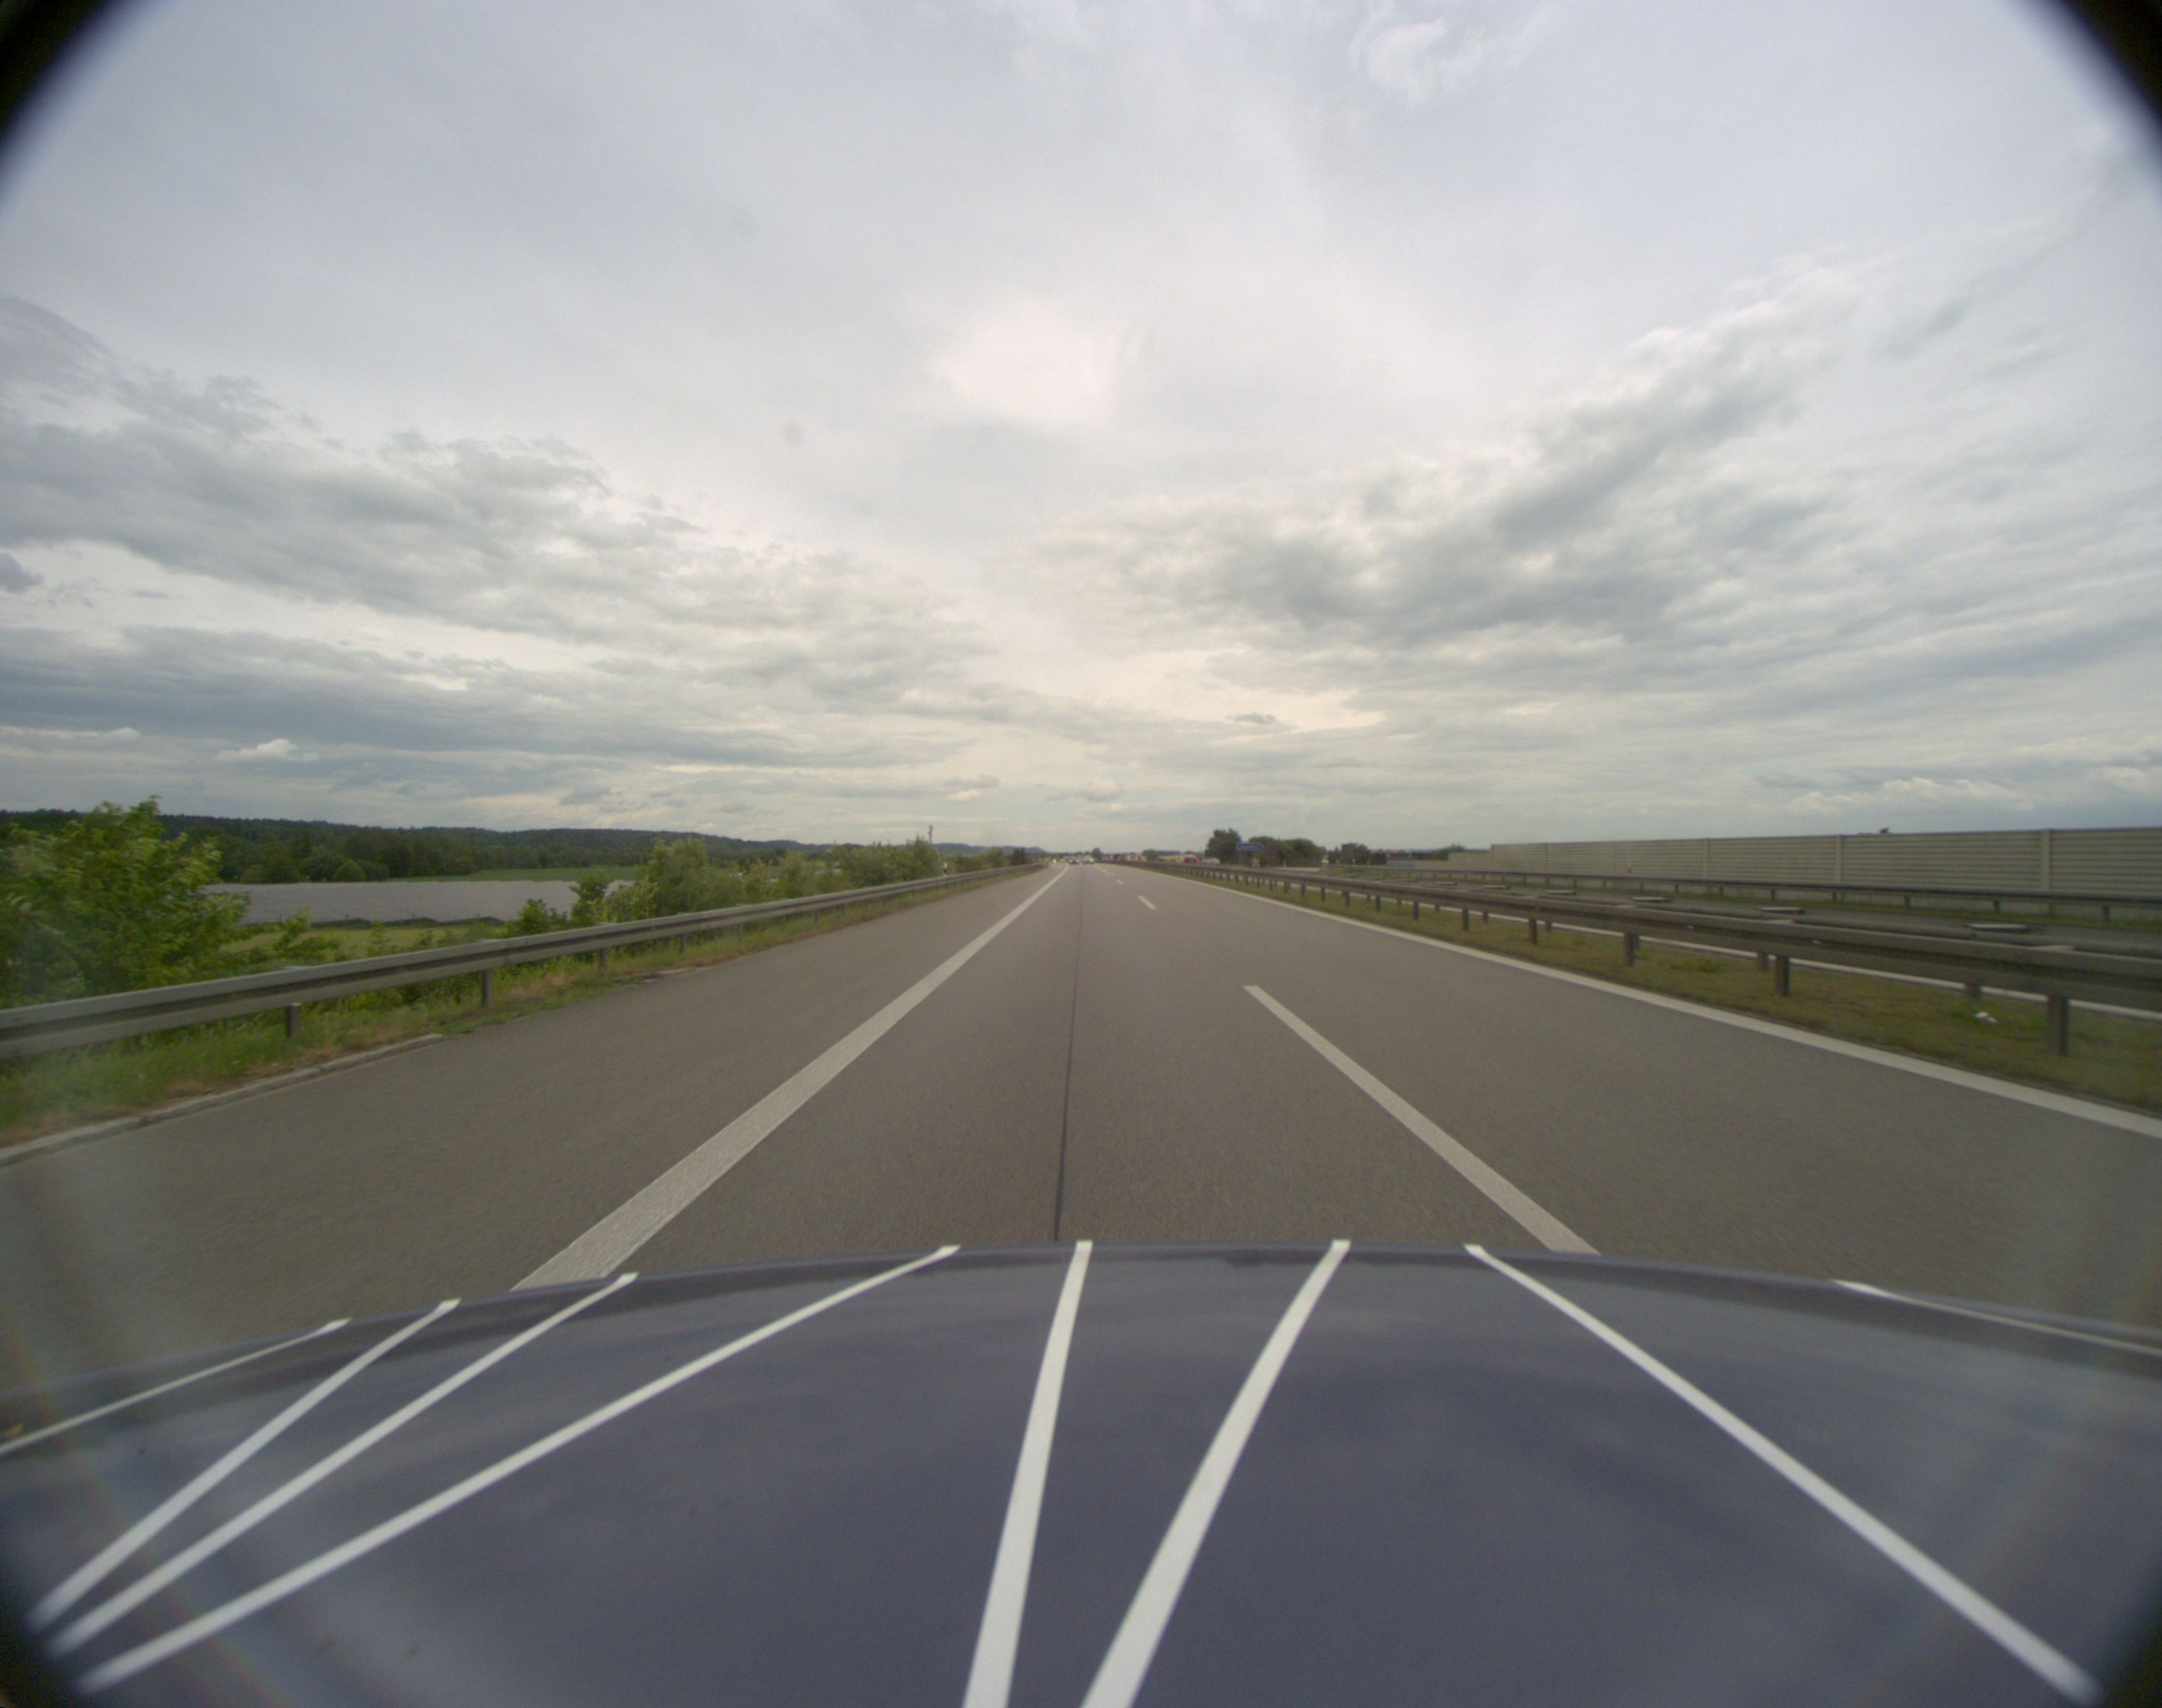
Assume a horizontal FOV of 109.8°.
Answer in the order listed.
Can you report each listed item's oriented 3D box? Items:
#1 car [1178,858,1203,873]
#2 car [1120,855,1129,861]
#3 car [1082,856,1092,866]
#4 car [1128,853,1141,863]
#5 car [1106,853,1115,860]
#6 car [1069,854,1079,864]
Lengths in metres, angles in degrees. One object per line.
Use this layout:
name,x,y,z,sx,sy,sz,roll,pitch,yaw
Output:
car,11.206,1.122,77.868,1.792,1.442,5.173,-2,0,0
car,11.102,0.931,193.840,1.804,1.385,4.000,-2,-1,-1
car,1.169,1.308,139.972,1.850,1.665,4.200,0,-1,0
car,10.233,0.745,145.798,2.075,1.735,4.961,1,-1,0
car,8.918,0.752,232.426,2.141,1.579,4.997,-11,2,-1
car,-1.463,1.052,155.486,1.851,1.850,3.999,0,-1,-2
